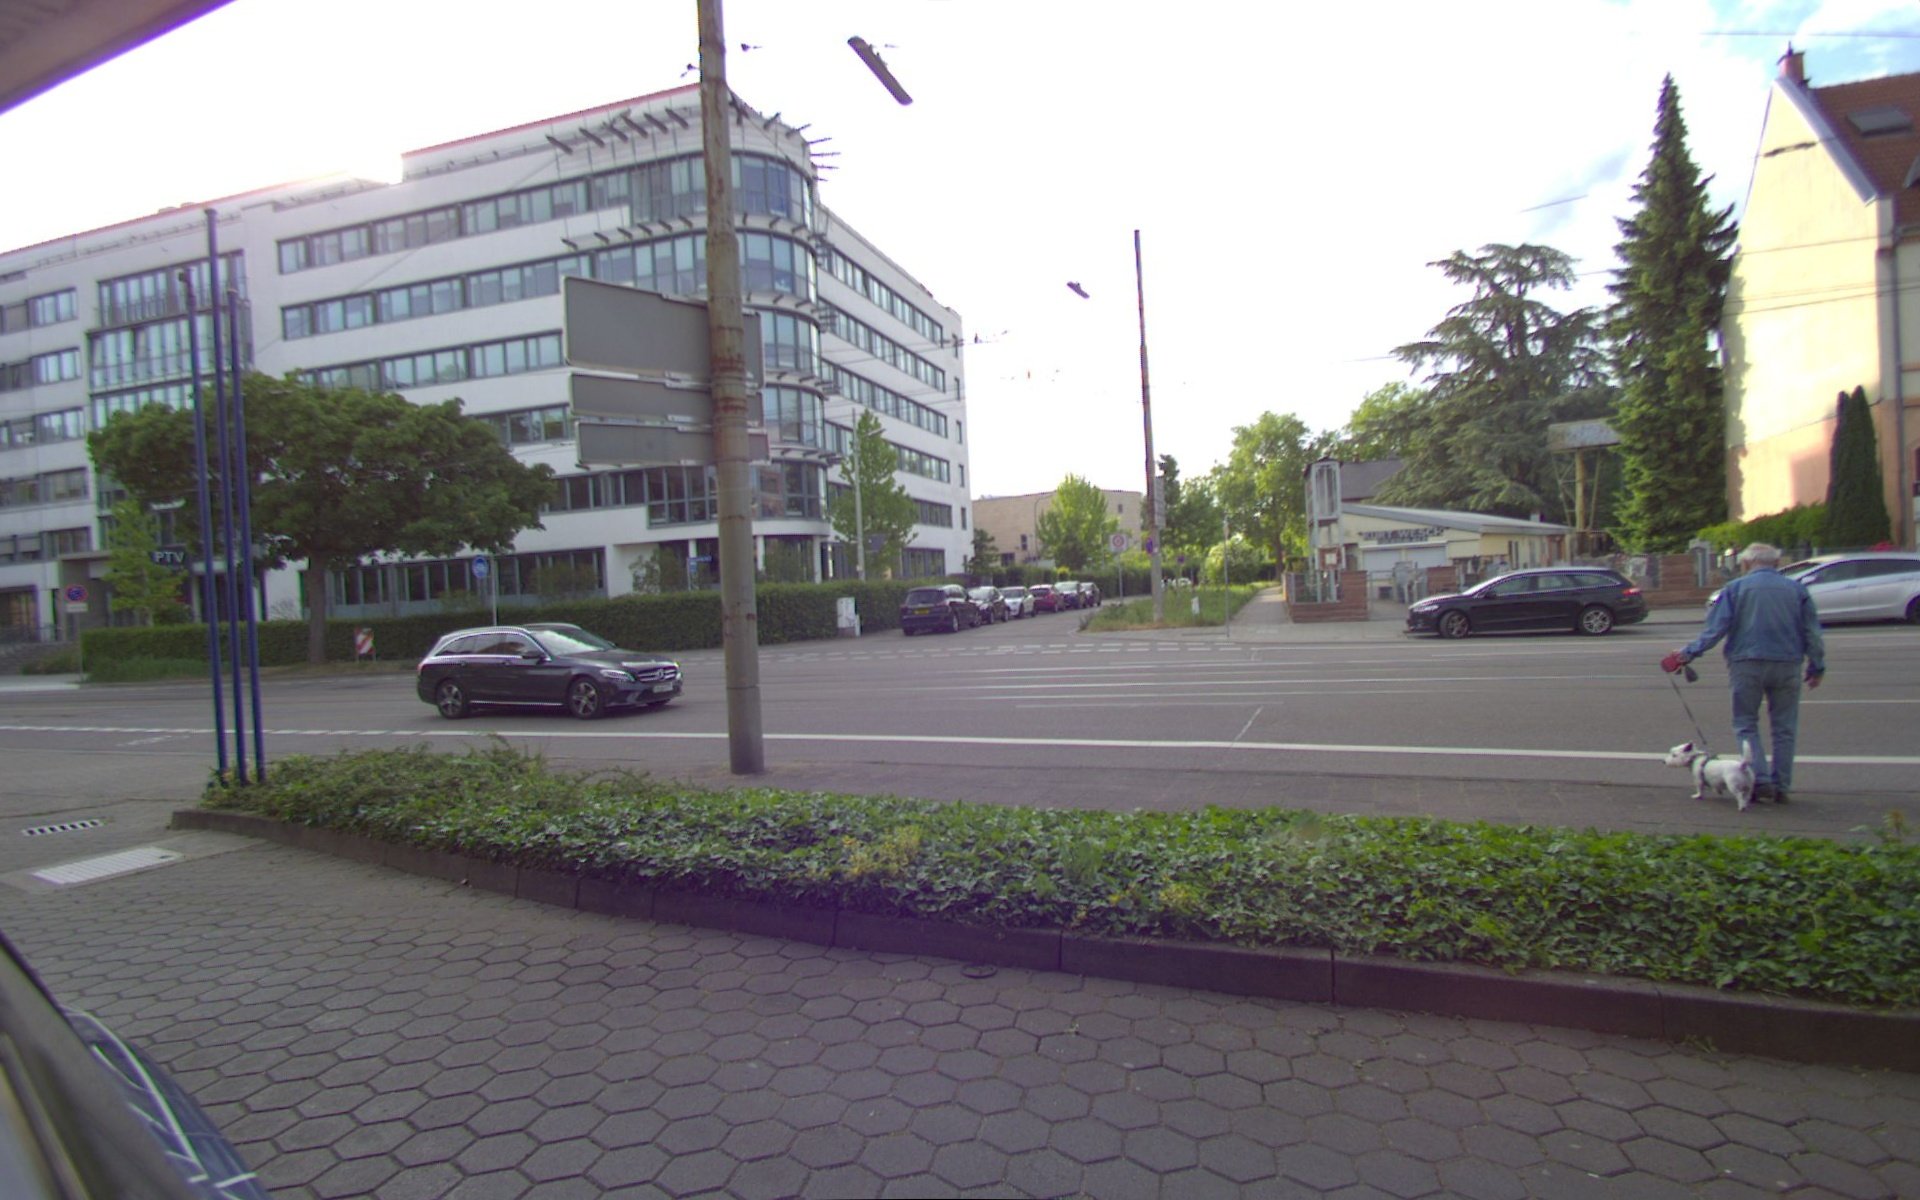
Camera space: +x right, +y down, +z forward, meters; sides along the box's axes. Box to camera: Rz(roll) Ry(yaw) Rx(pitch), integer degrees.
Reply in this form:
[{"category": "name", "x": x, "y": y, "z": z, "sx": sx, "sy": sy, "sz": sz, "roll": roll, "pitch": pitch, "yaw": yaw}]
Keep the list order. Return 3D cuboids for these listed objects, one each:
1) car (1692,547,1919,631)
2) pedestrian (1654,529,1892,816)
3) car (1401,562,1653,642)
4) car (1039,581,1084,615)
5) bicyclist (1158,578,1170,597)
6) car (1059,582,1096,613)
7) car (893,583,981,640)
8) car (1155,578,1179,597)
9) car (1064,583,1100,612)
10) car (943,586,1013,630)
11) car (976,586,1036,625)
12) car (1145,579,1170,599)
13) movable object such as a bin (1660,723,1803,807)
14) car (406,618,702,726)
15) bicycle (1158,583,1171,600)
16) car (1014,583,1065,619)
[{"category": "car", "x": 18.422, "y": -0.250, "z": 21.380, "sx": 4.424, "sy": 1.494, "sz": 1.713, "roll": -3, "pitch": 1, "yaw": 21}, {"category": "pedestrian", "x": 5.216, "y": 0.426, "z": 6.590, "sx": 1.000, "sy": 1.680, "sz": 0.961, "roll": -3, "pitch": 1, "yaw": 30}, {"category": "car", "x": 12.911, "y": 0.051, "z": 23.442, "sx": 4.742, "sy": 1.511, "sz": 2.001, "roll": -3, "pitch": 1, "yaw": 21}, {"category": "car", "x": 5.835, "y": -0.152, "z": 57.720, "sx": 1.929, "sy": 1.748, "sz": 4.512, "roll": -3, "pitch": 0, "yaw": 13}, {"category": "bicyclist", "x": 17.503, "y": -1.077, "z": 86.836, "sx": 0.859, "sy": 1.617, "sz": 1.023, "roll": -2, "pitch": 3, "yaw": 17}, {"category": "car", "x": 7.289, "y": -0.163, "z": 62.494, "sx": 1.731, "sy": 1.748, "sz": 4.030, "roll": -3, "pitch": 0, "yaw": 13}, {"category": "car", "x": -0.726, "y": 0.360, "z": 35.415, "sx": 1.994, "sy": 1.704, "sz": 4.274, "roll": -3, "pitch": 1, "yaw": 13}, {"category": "car", "x": 21.690, "y": -1.342, "z": 106.160, "sx": 1.849, "sy": 1.748, "sz": 4.246, "roll": -3, "pitch": 1, "yaw": 19}, {"category": "car", "x": 8.091, "y": -0.175, "z": 66.755, "sx": 1.845, "sy": 1.748, "sz": 4.256, "roll": -3, "pitch": 0, "yaw": 13}, {"category": "car", "x": 0.794, "y": 0.290, "z": 40.974, "sx": 1.929, "sy": 1.551, "sz": 4.274, "roll": -3, "pitch": 0, "yaw": 13}, {"category": "car", "x": 2.142, "y": 0.213, "z": 45.785, "sx": 1.929, "sy": 1.530, "sz": 4.274, "roll": -3, "pitch": 0, "yaw": 13}, {"category": "car", "x": 19.699, "y": -1.091, "z": 100.791, "sx": 1.849, "sy": 1.748, "sz": 4.247, "roll": -3, "pitch": 1, "yaw": 19}, {"category": "movable object such as a bin", "x": 5.023, "y": 1.069, "z": 6.624, "sx": 0.476, "sy": 0.424, "sz": 0.677, "roll": -3, "pitch": 1, "yaw": 12}, {"category": "car", "x": -6.612, "y": 1.167, "z": 16.429, "sx": 4.541, "sy": 1.479, "sz": 1.741, "roll": -3, "pitch": 1, "yaw": 24}, {"category": "bicycle", "x": 17.546, "y": -0.766, "z": 86.933, "sx": 0.859, "sy": 1.320, "sz": 1.909, "roll": -2, "pitch": 3, "yaw": 17}, {"category": "car", "x": 4.175, "y": 0.021, "z": 52.491, "sx": 1.929, "sy": 1.650, "sz": 4.274, "roll": -3, "pitch": 0, "yaw": 13}]
